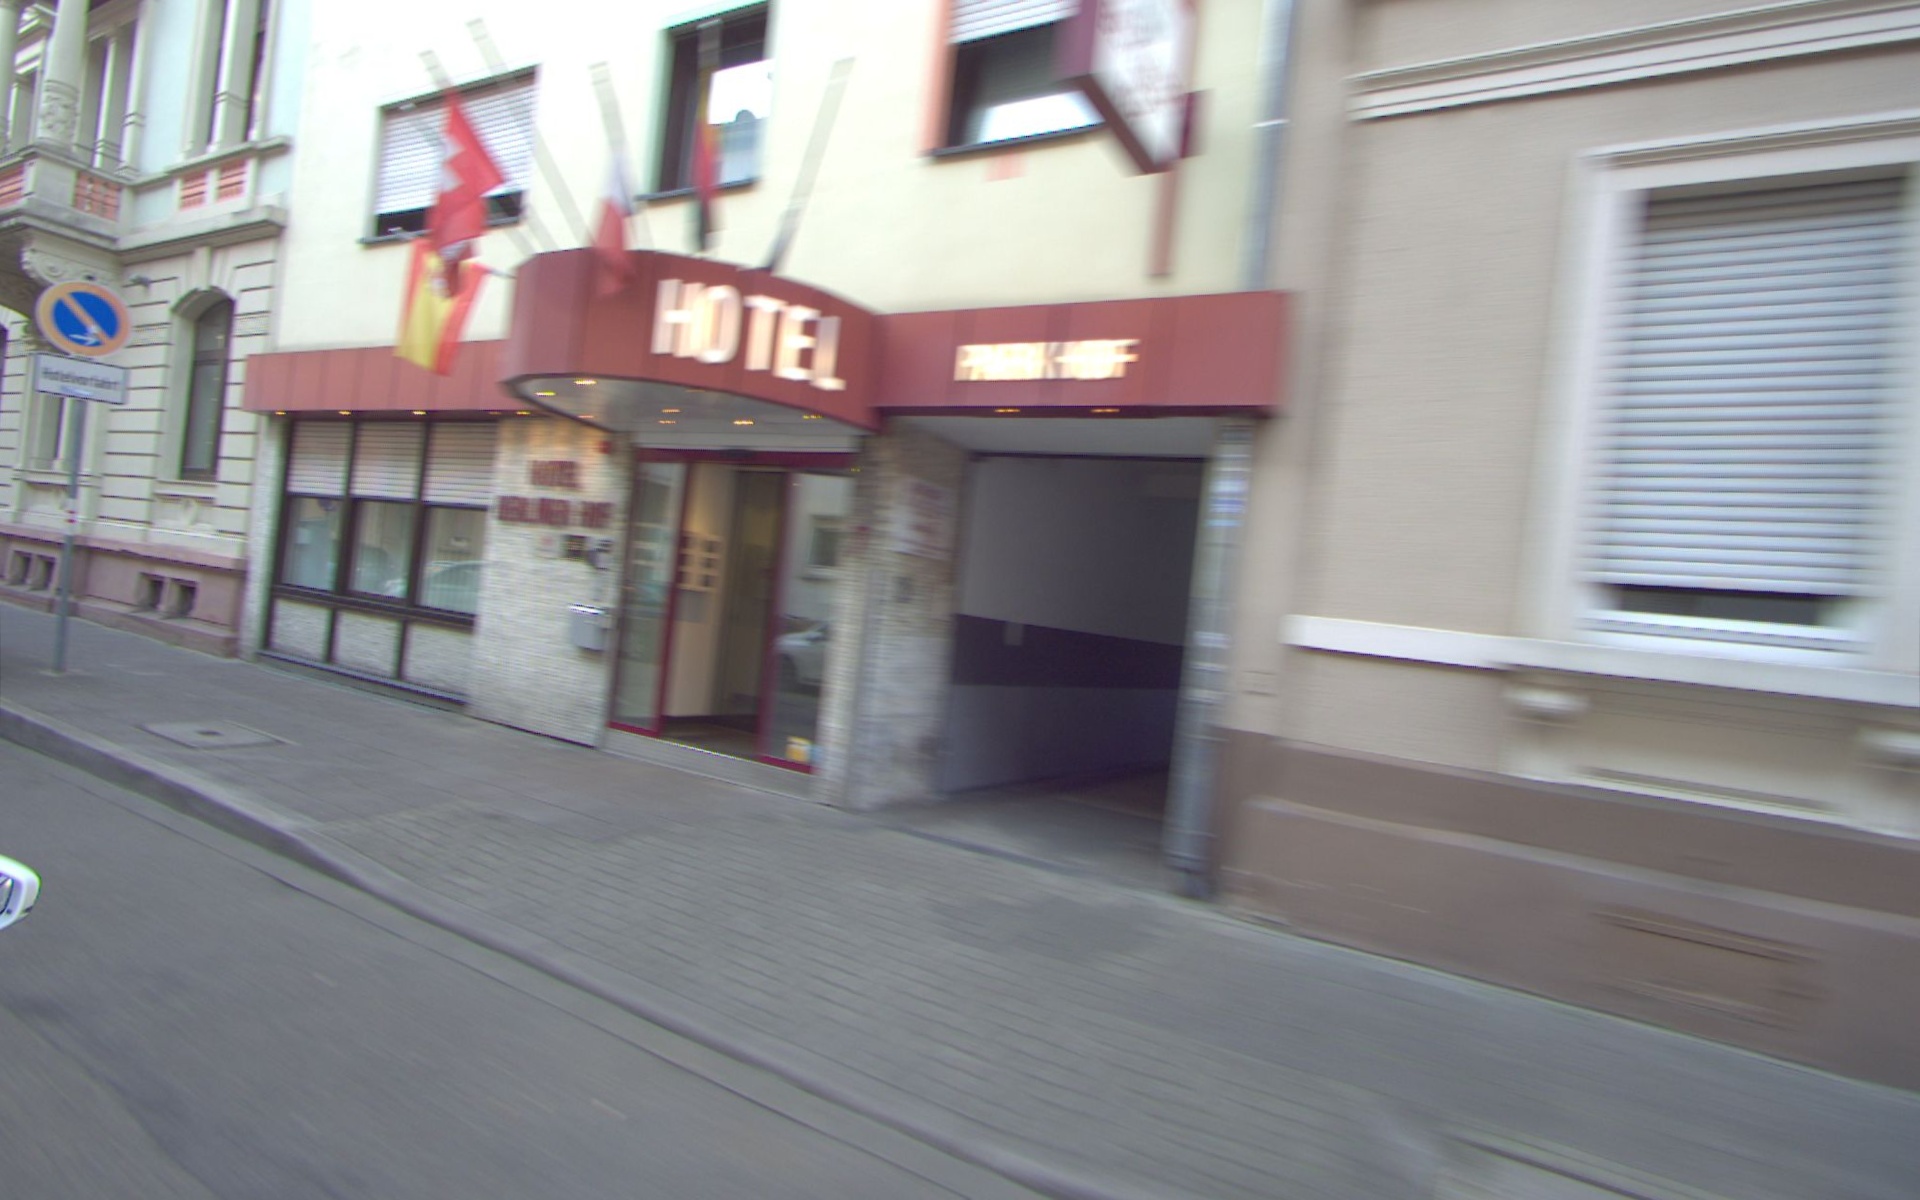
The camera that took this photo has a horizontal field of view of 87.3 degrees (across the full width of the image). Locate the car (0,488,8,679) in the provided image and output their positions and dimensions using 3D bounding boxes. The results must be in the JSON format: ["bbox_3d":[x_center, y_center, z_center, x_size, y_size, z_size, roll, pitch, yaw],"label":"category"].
[{"bbox_3d":[-9.354,-0.286,8.018,3.696,1.480,1.660,7,5,31],"label":"car"}]
